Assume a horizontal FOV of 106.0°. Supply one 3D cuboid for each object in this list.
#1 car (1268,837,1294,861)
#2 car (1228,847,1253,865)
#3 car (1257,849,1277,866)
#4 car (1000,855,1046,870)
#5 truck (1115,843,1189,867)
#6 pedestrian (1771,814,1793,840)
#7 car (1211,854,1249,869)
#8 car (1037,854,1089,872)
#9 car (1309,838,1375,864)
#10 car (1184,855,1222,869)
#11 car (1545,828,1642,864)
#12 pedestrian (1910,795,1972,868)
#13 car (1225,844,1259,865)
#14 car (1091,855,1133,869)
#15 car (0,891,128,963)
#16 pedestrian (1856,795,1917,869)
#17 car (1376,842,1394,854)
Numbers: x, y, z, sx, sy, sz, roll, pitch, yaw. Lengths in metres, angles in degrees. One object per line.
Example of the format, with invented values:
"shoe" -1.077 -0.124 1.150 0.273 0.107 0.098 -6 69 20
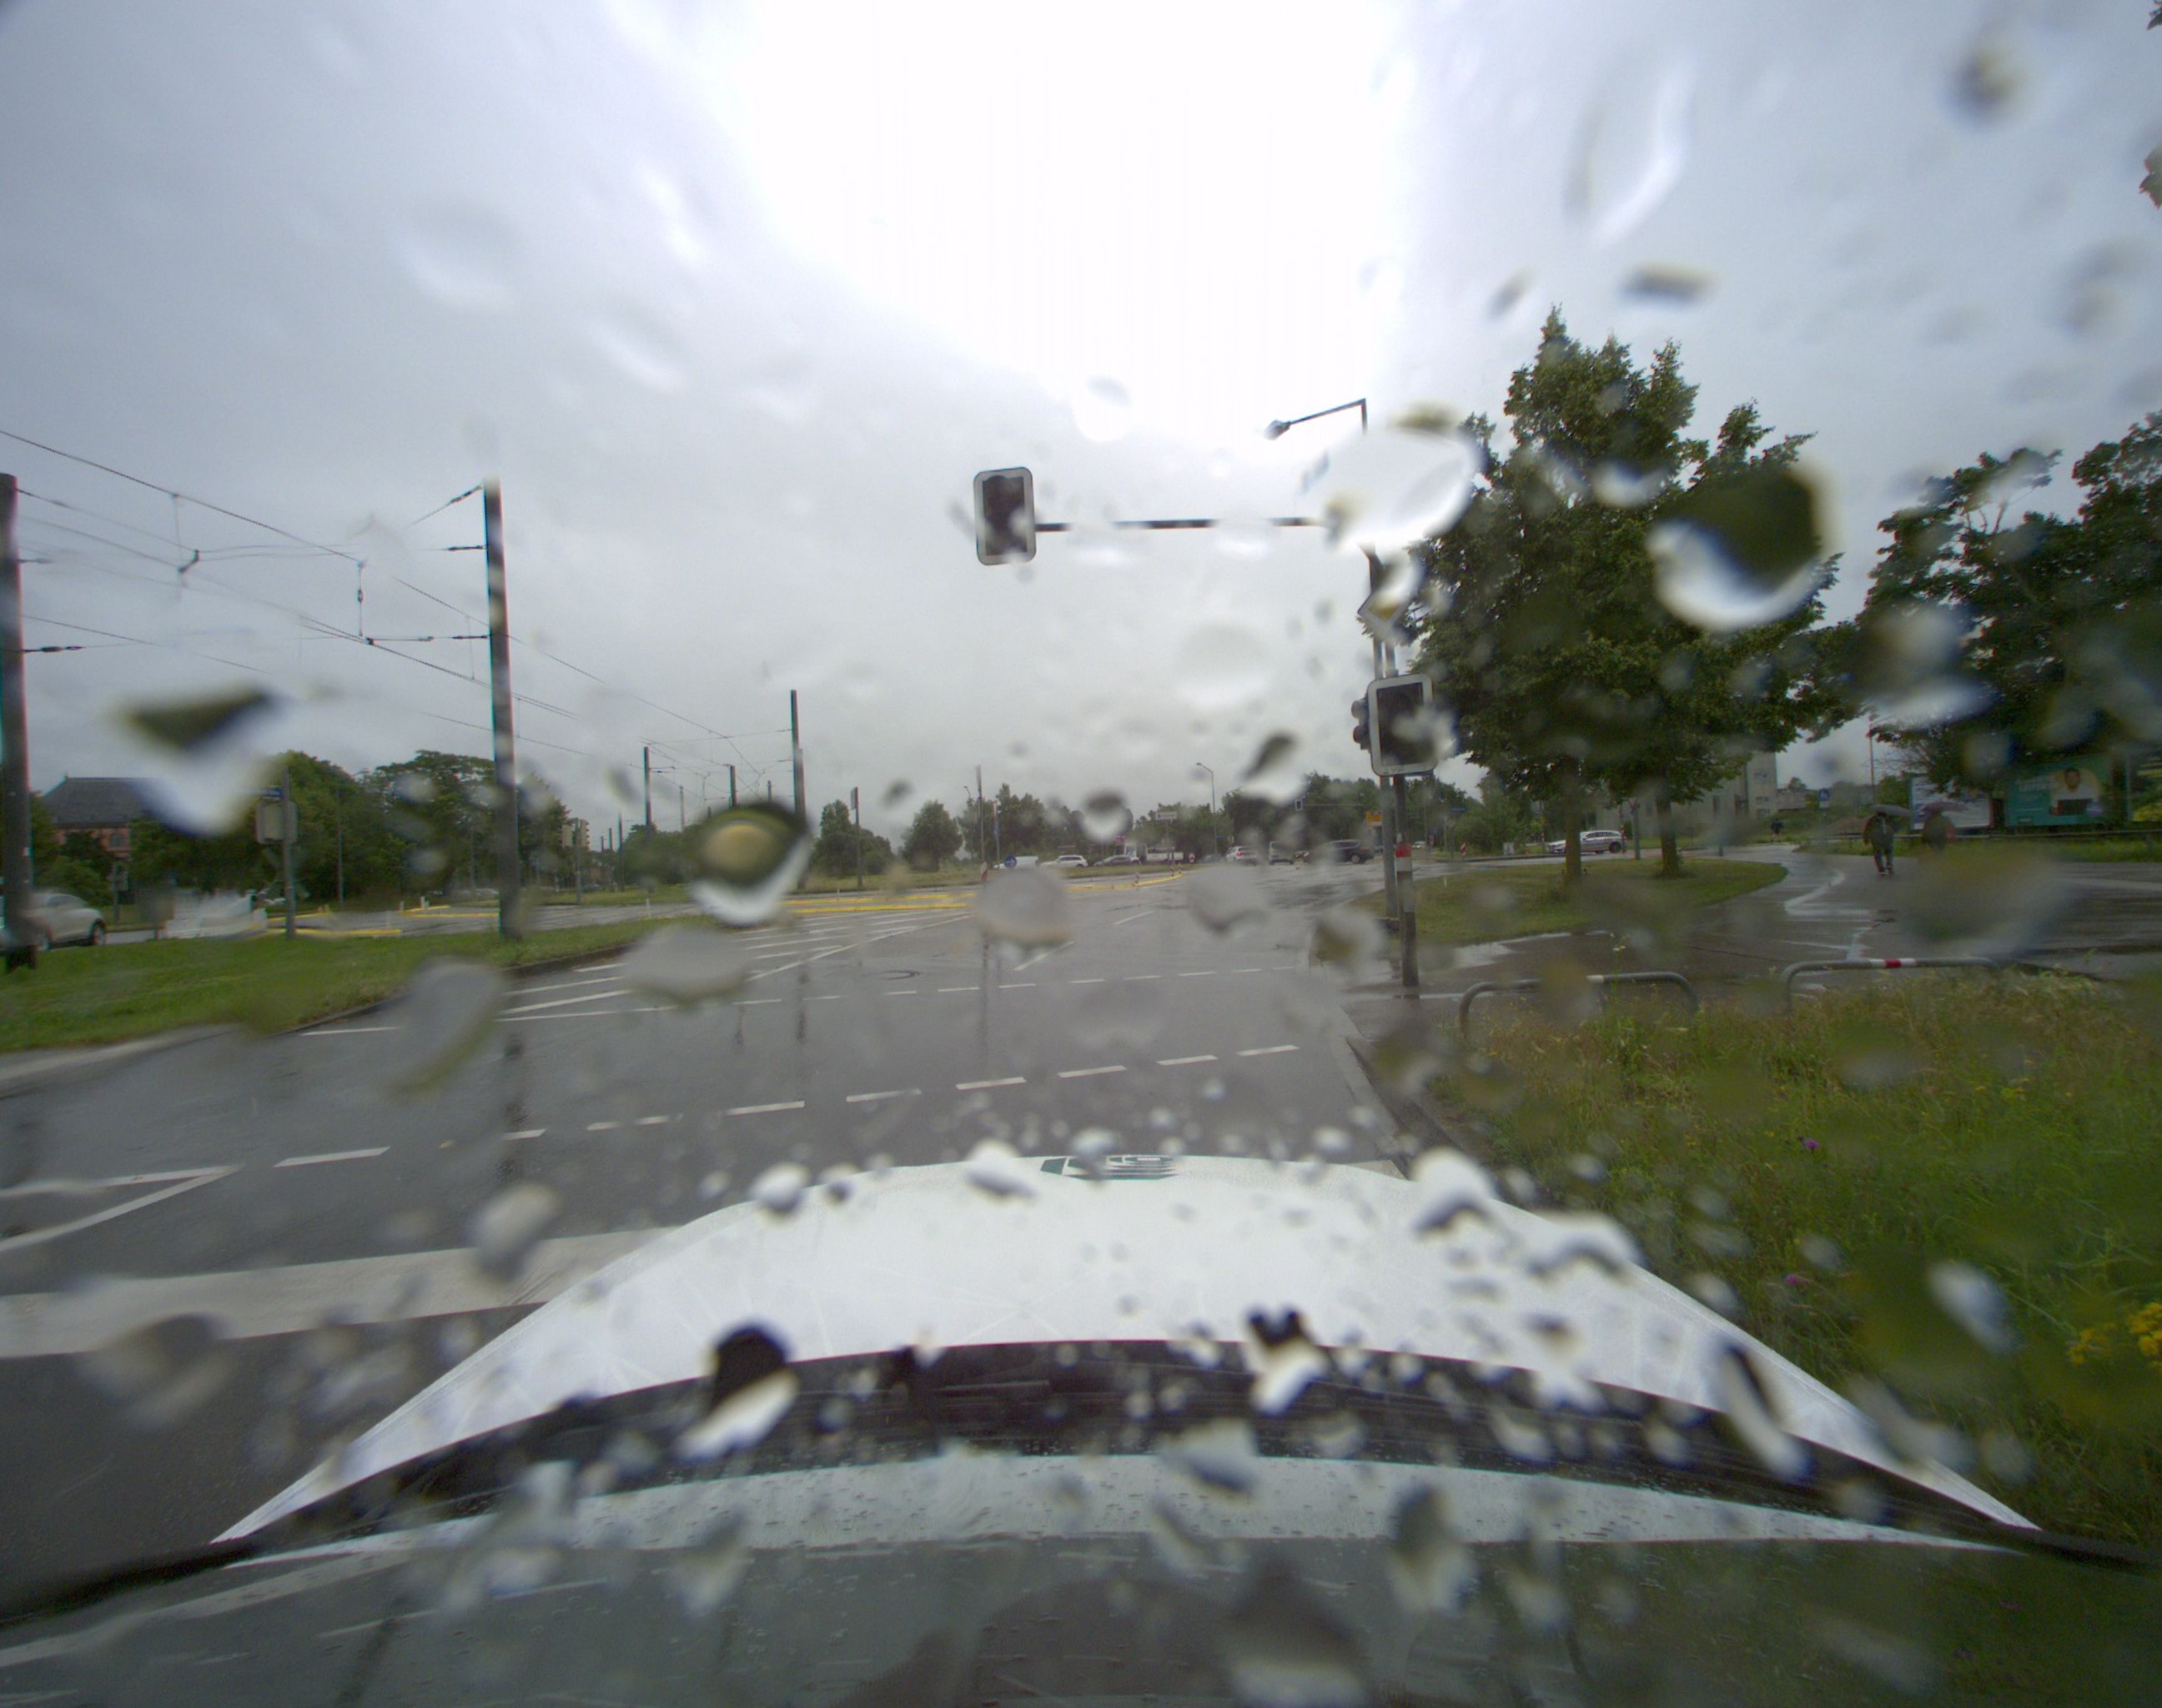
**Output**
"car" 17.385 -0.429 70.671 1.769 2.036 4.019 -1 -1 19
"car" 14.166 0.186 72.147 1.675 1.492 3.267 -1 -1 19
"car" 17.565 0.327 76.833 1.675 1.492 3.265 -1 -1 17
"car" -5.905 0.876 83.019 4.540 1.492 1.604 0 -1 -14
"truck" 8.231 0.142 93.538 8.820 2.711 1.981 0 -1 -29
"pedestrian" 49.350 -1.892 57.355 0.947 1.772 0.715 -1 -1 11
"car" 18.164 0.923 98.989 4.889 1.744 1.758 0 -1 -38
"car" -1.783 0.864 79.990 4.864 1.744 1.766 0 -1 -19
"car" 17.776 -0.176 55.540 3.948 1.648 1.800 -1 -1 35
"car" 14.927 0.952 99.651 4.889 1.744 1.758 0 -1 -38
"car" 32.173 -0.507 51.202 4.804 1.810 1.790 -5 0 1
"pedestrian" 21.649 -0.554 20.509 0.811 1.784 0.914 0 -1 -33
"car" 12.737 0.047 64.673 1.677 1.648 3.941 0 -1 -4
"car" 3.262 0.828 86.485 4.158 1.492 1.598 0 -1 -25
"car" -25.728 1.723 19.808 1.856 1.486 4.188 0 -1 -28
"pedestrian" 20.137 -0.524 20.356 0.811 1.784 0.914 0 -1 -33
"car" 53.332 -1.085 142.929 1.771 2.014 3.697 -1 -1 39
